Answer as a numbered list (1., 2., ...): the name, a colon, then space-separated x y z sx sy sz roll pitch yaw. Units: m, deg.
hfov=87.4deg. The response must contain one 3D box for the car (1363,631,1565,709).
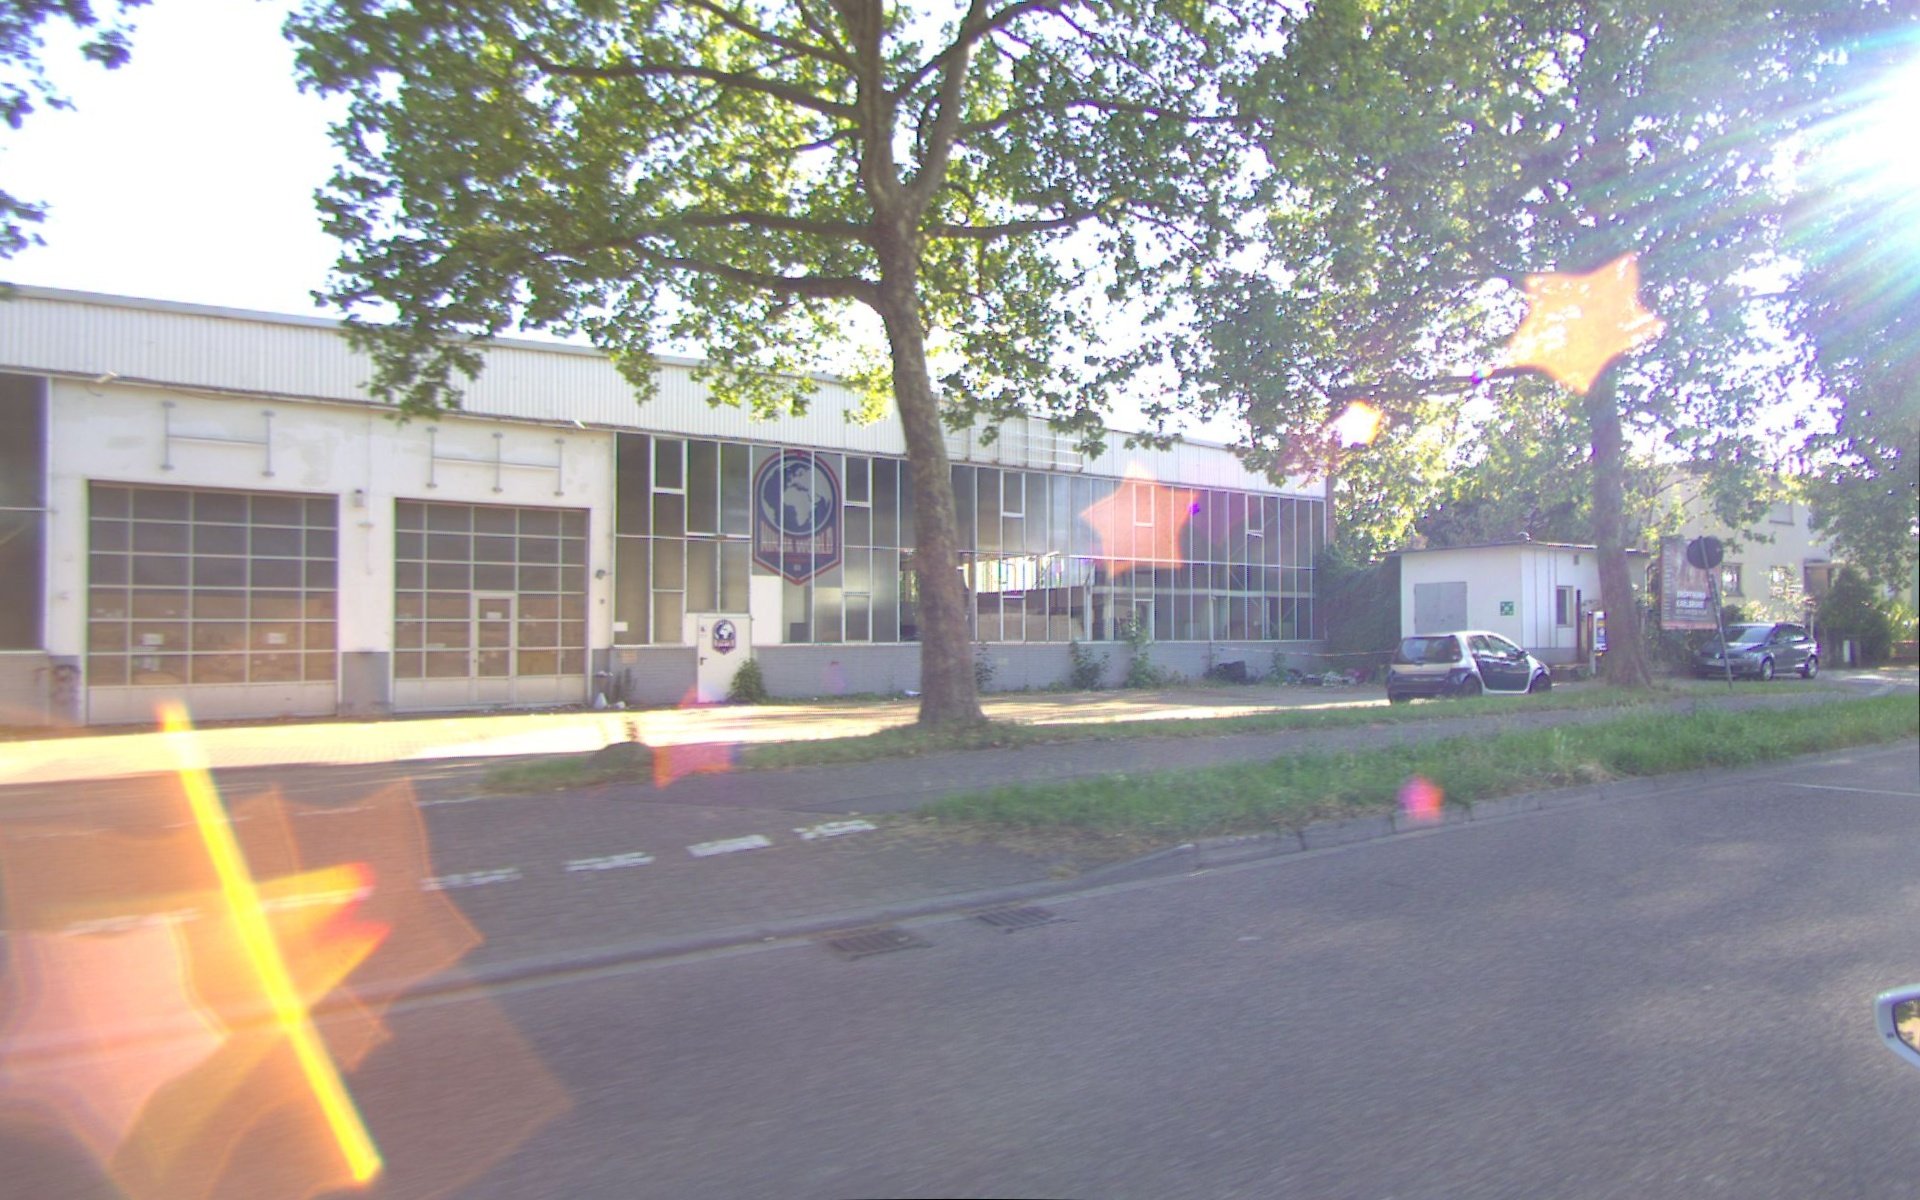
1. car: 10.187 1.411 20.265 3.881 1.387 1.982 2 -6 -35

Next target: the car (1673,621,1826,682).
1. car: 22.625 1.443 28.775 4.221 1.597 1.985 2 -1 -29
